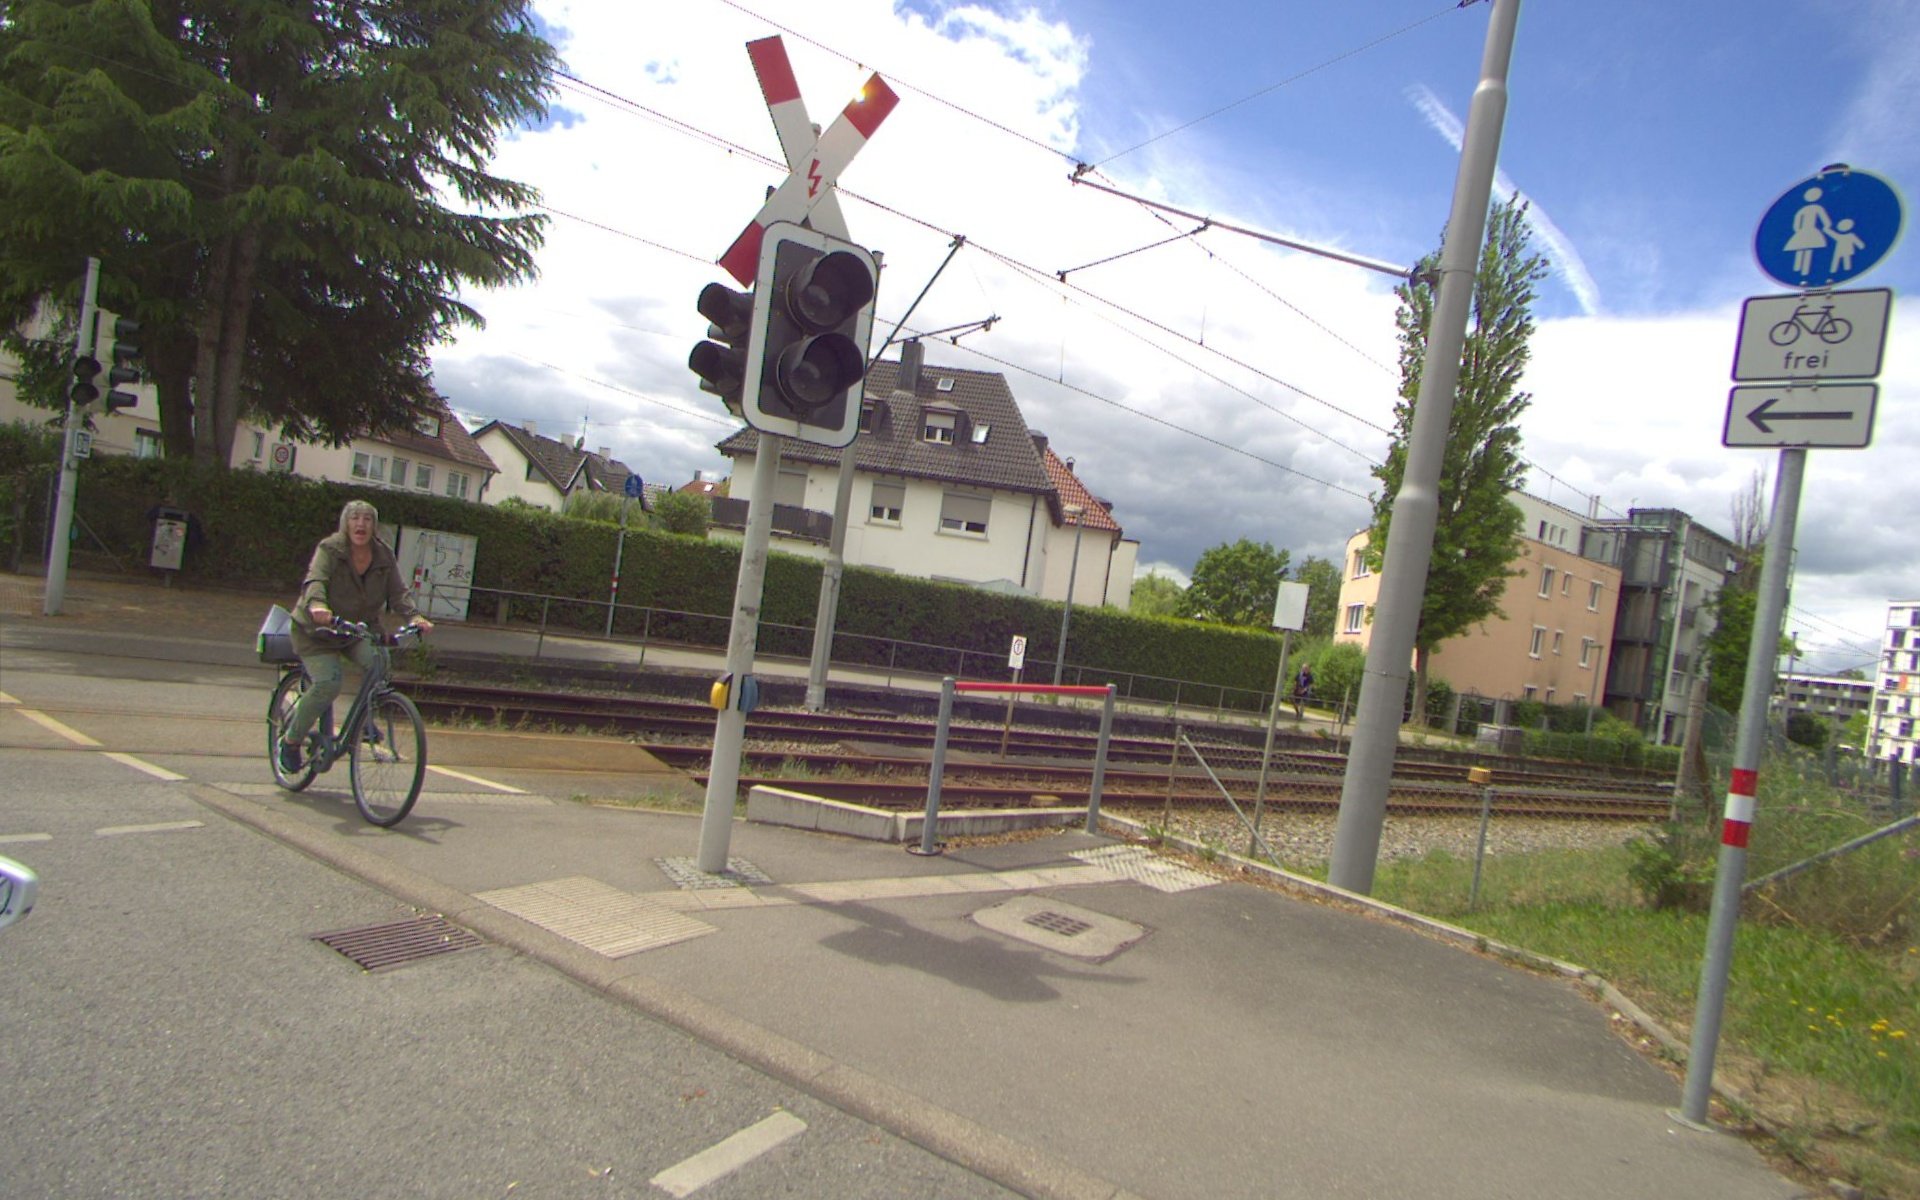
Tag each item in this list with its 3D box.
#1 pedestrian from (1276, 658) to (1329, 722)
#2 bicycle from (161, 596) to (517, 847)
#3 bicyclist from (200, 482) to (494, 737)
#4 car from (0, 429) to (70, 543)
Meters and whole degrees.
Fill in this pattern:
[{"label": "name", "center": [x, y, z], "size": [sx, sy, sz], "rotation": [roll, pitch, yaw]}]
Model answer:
[{"label": "pedestrian", "center": [10.096, 2.655, 29.652], "size": [0.910, 1.707, 0.925], "rotation": [7, 1, -31]}, {"label": "bicycle", "center": [-3.545, 0.631, 5.706], "size": [1.885, 1.052, 0.933], "rotation": [6, -3, 34]}, {"label": "bicyclist", "center": [-3.469, 0.062, 5.716], "size": [1.085, 1.261, 0.933], "rotation": [6, -3, 34]}, {"label": "car", "center": [-24.550, -3.039, 22.967], "size": [1.962, 2.612, 6.019], "rotation": [9, 0, 16]}]
